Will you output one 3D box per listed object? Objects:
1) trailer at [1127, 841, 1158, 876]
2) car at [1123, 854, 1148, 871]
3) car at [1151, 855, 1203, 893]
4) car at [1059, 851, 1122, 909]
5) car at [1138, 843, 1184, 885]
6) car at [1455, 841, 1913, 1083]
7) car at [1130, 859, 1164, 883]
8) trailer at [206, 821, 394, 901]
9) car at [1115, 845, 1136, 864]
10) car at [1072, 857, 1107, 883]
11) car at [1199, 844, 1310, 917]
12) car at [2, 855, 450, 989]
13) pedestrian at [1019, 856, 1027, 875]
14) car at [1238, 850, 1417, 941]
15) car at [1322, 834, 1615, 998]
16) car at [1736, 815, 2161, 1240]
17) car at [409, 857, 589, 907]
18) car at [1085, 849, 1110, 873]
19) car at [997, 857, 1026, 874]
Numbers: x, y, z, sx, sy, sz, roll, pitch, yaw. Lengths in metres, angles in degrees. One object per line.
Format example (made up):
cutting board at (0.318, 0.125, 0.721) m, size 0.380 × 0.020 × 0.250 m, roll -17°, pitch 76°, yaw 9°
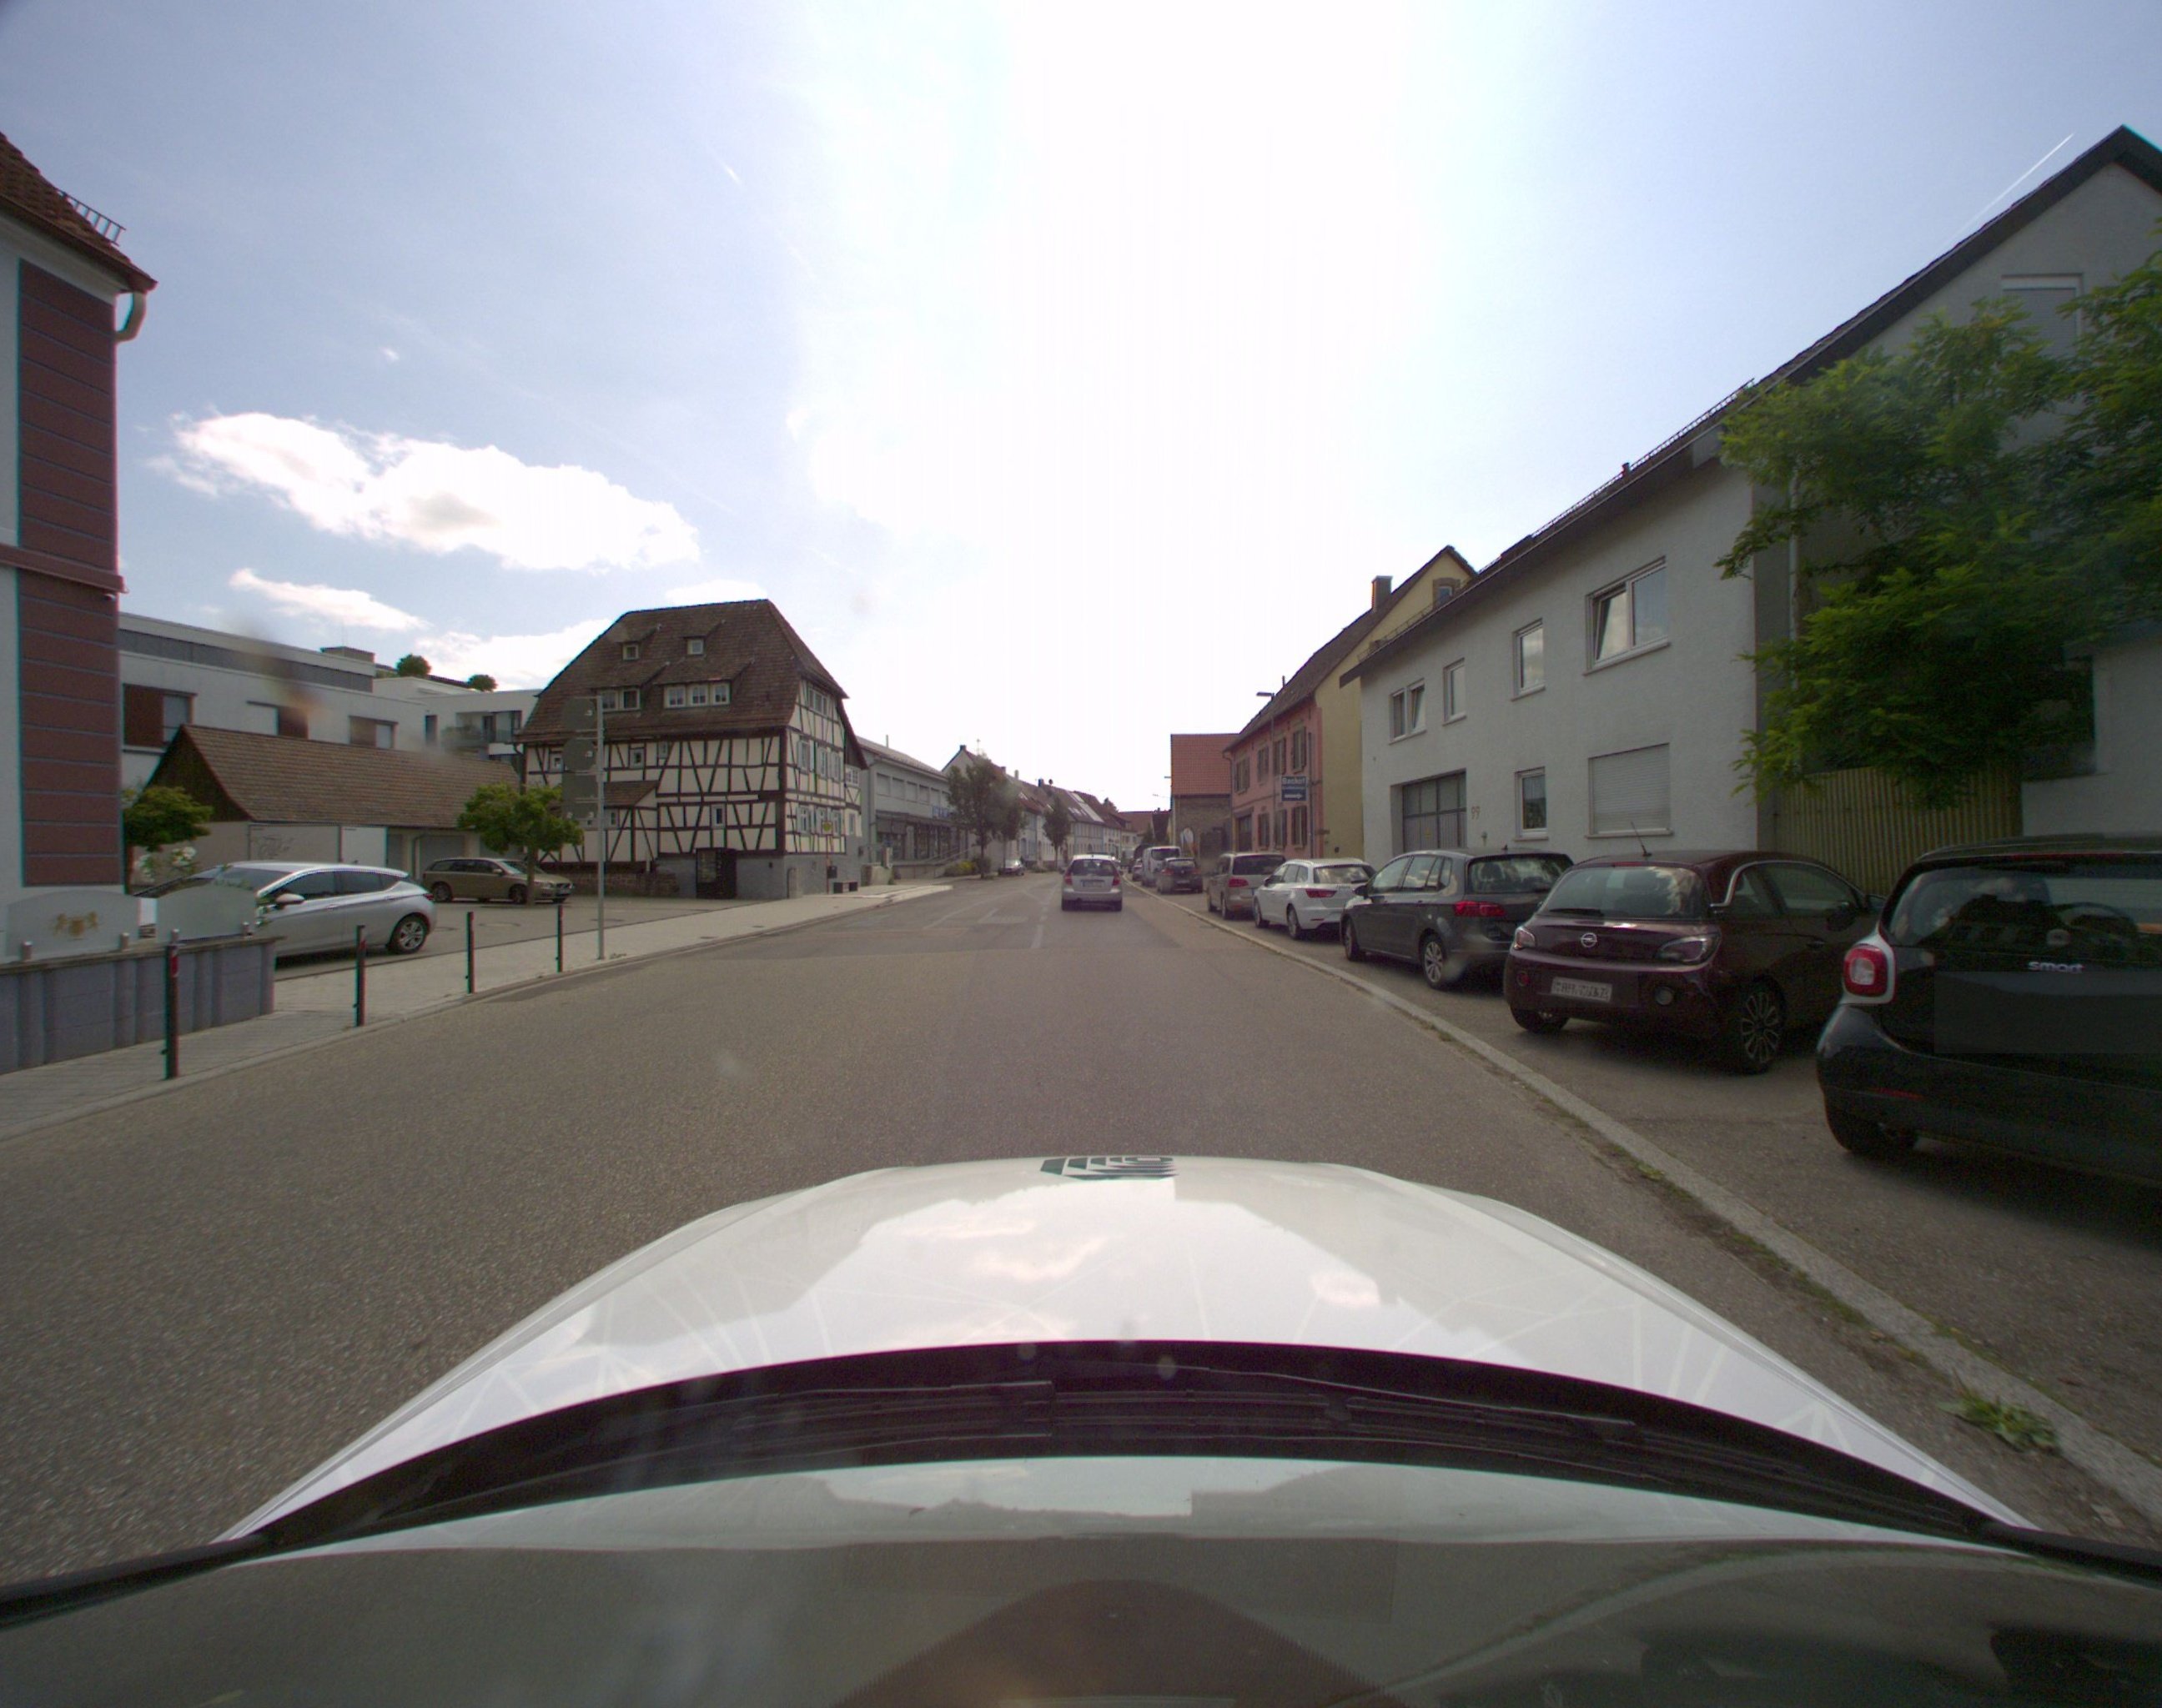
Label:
trailer at (4.293, 0.343, 57.282) m, size 1.839 × 2.354 × 3.589 m, roll -1°, pitch 0°, yaw 0°
car at (5.095, 0.793, 76.409) m, size 1.987 × 1.559 × 4.000 m, roll -2°, pitch 0°, yaw 0°
car at (4.017, 0.817, 34.539) m, size 1.768 × 1.495 × 4.162 m, roll -1°, pitch 0°, yaw 1°
car at (0.276, 0.747, 24.671) m, size 1.763 × 1.595 × 3.999 m, roll 0°, pitch -1°, yaw 0°
car at (4.051, 0.500, 42.020) m, size 1.885 × 1.982 × 4.931 m, roll -3°, pitch 0°, yaw 1°
car at (4.933, 0.671, 6.673) m, size 3.245 × 1.505 × 1.810 m, roll -1°, pitch 0°, yaw -29°
car at (4.188, 1.044, 51.982) m, size 1.869 × 1.481 × 4.675 m, roll 0°, pitch 0°, yaw 1°
trailer at (-25.562, 0.229, 26.756) m, size 4.404 × 2.426 × 1.967 m, roll 2°, pitch -1°, yaw 6°
car at (5.791, 0.082, 105.317) m, size 2.222 × 2.222 × 4.010 m, roll -2°, pitch -1°, yaw 9°
car at (0.486, 0.884, 47.094) m, size 1.939 × 1.407 × 4.000 m, roll 0°, pitch 0°, yaw 0°
car at (4.352, 0.633, 21.099) m, size 1.986 × 1.680 × 4.323 m, roll -1°, pitch 0°, yaw 1°
car at (-11.814, 0.820, 11.806) m, size 1.751 × 1.492 × 4.279 m, roll 3°, pitch 0°, yaw 3°
pedestrian at (-5.793, 1.159, 81.240) m, size 0.736 × 1.801 × 0.643 m, roll -1°, pitch -1°, yaw 2°
car at (4.633, 0.719, 16.062) m, size 1.989 × 1.517 × 4.366 m, roll -1°, pitch 0°, yaw -3°
car at (4.550, 0.638, 10.366) m, size 1.657 × 1.624 × 4.270 m, roll -1°, pitch 0°, yaw -1°
car at (4.952, 0.602, 3.794) m, size 2.791 × 1.505 × 1.863 m, roll -1°, pitch 0°, yaw -23°
car at (-18.595, 0.858, 26.144) m, size 4.406 × 1.389 × 1.967 m, roll 2°, pitch 0°, yaw 4°
car at (1.392, 0.595, 68.822) m, size 1.761 × 1.888 × 4.452 m, roll 2°, pitch -1°, yaw 5°
car at (-5.952, 0.960, 70.110) m, size 1.796 × 1.460 × 4.163 m, roll 0°, pitch 0°, yaw 5°
